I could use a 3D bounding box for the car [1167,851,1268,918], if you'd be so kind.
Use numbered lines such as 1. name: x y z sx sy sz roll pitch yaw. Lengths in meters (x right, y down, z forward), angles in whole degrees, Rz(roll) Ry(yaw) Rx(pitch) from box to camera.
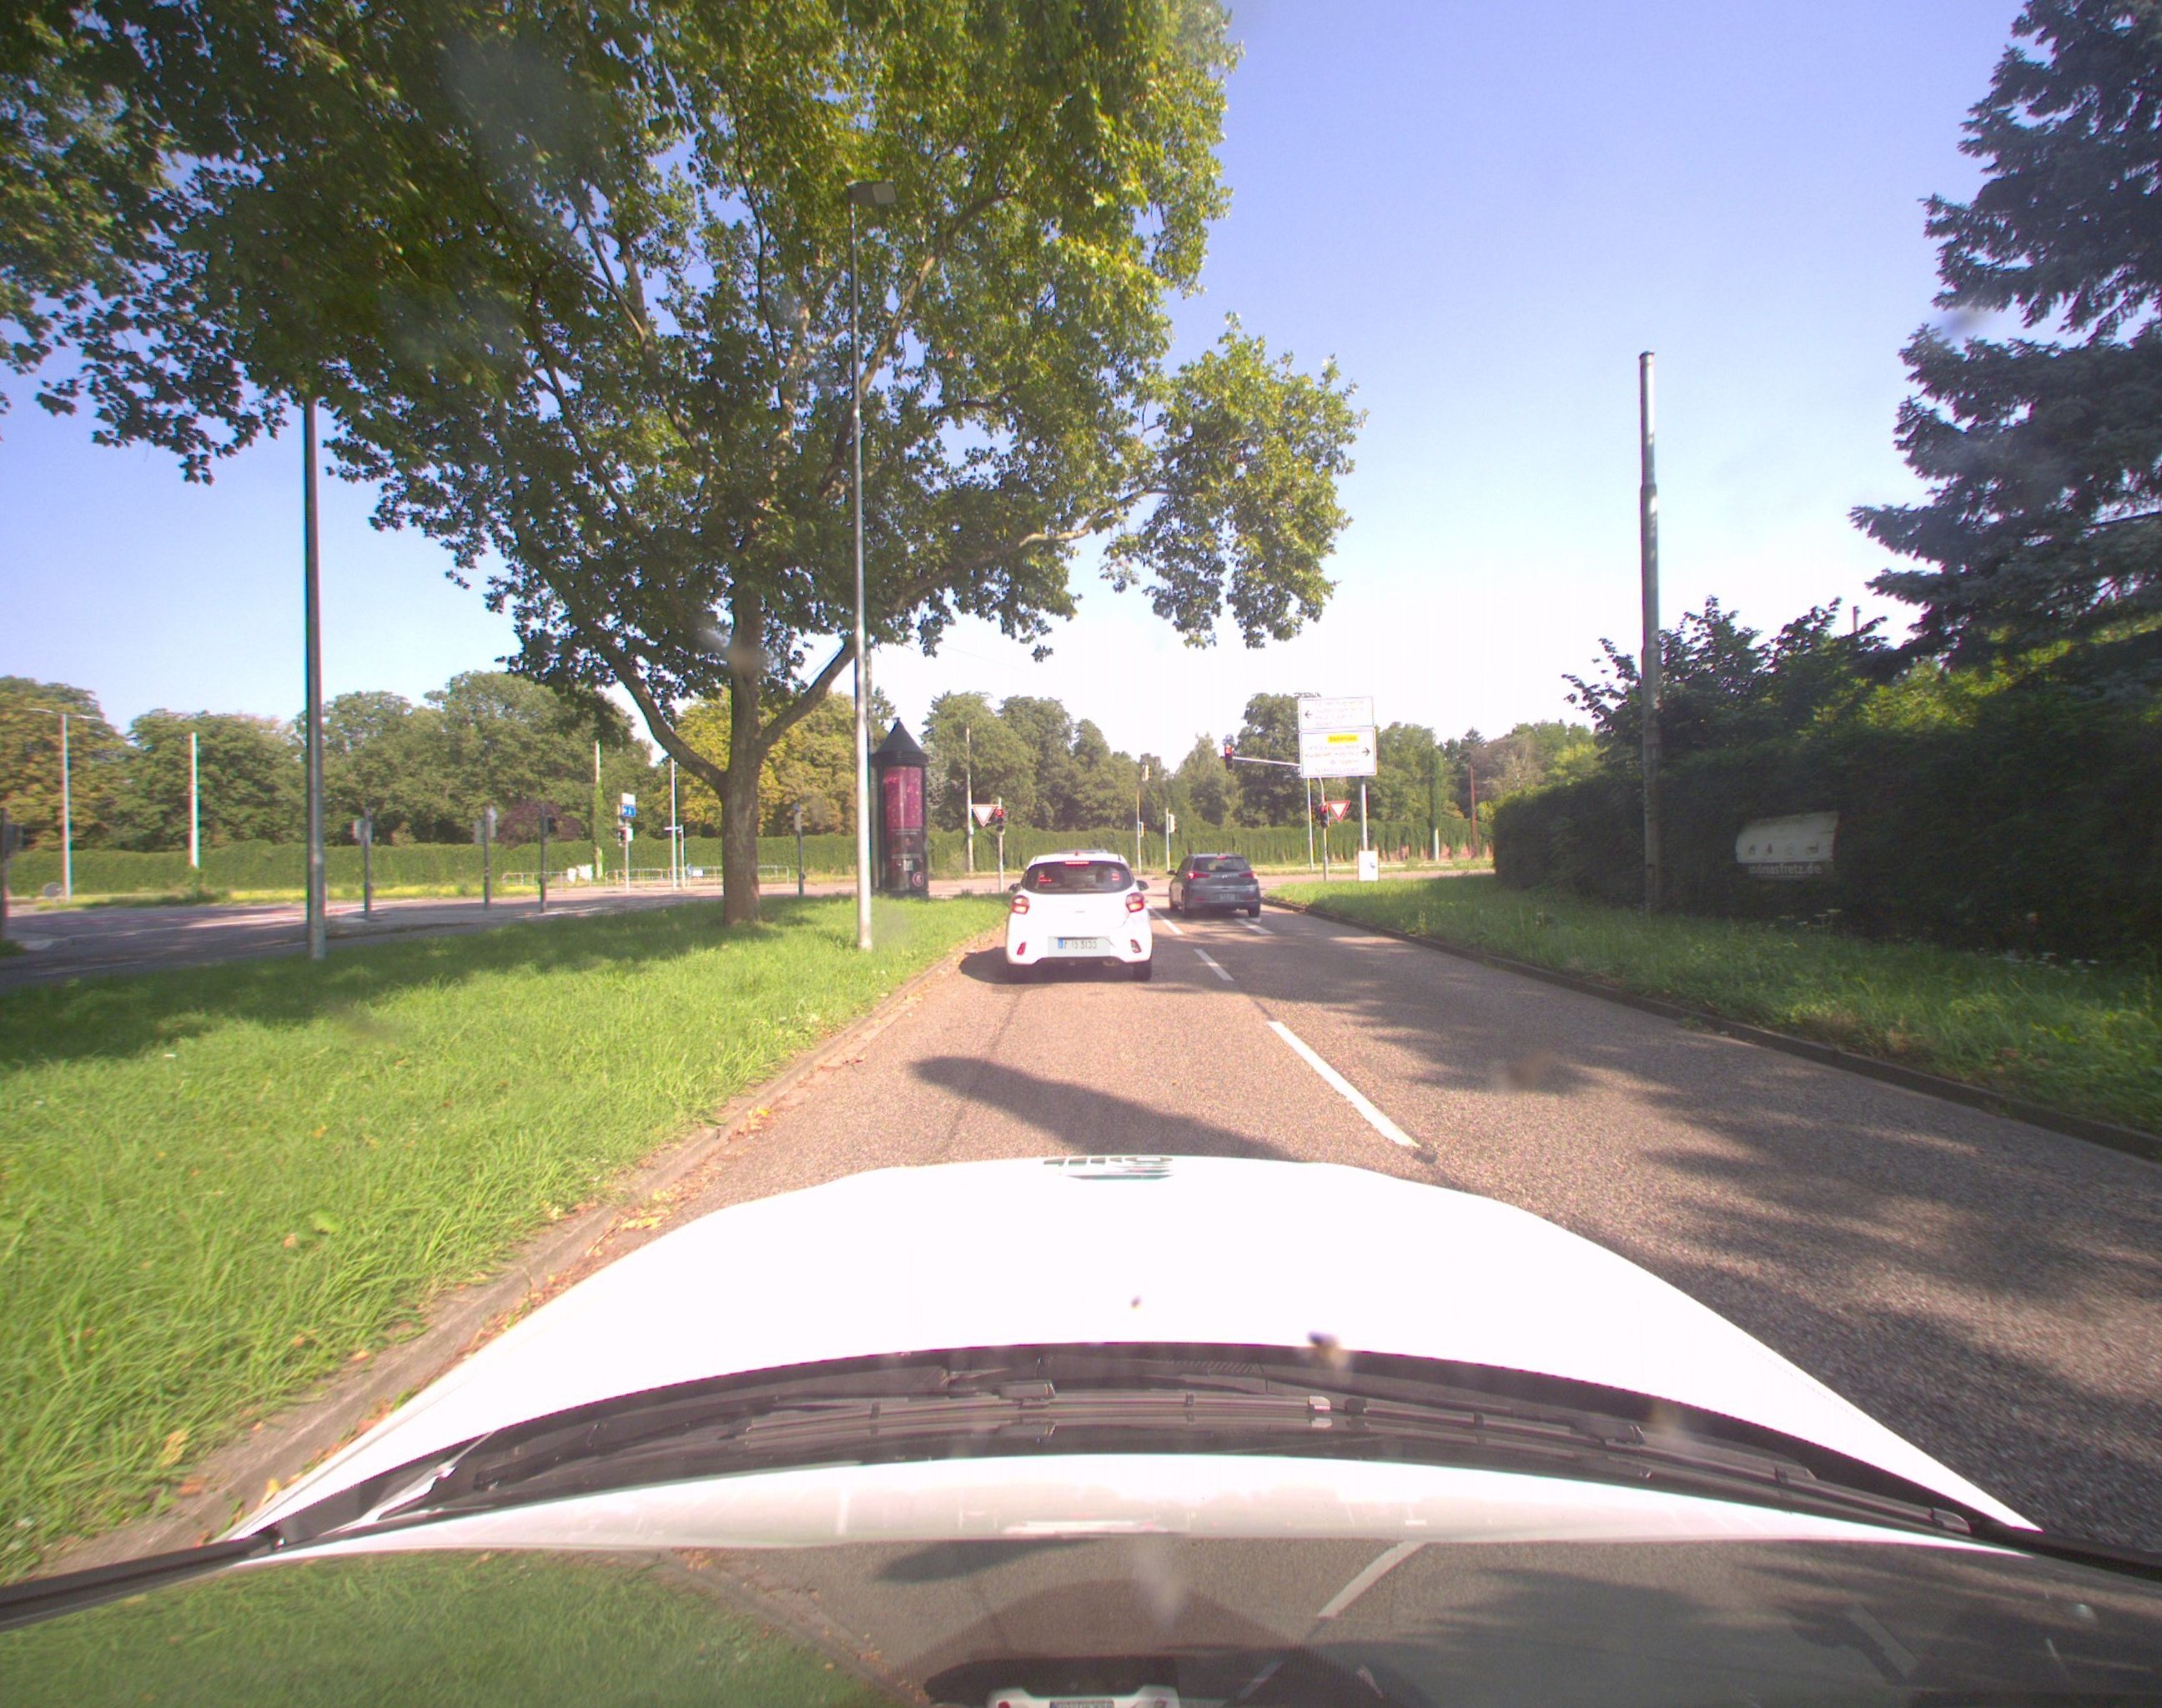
1. car: 3.162 0.652 19.608 1.791 1.401 4.000 -1 0 1

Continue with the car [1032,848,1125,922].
1. car: 0.052 0.608 18.099 1.679 1.462 3.855 -1 0 5

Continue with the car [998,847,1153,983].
1. car: 0.021 0.662 10.940 1.681 1.462 4.002 -1 0 2
